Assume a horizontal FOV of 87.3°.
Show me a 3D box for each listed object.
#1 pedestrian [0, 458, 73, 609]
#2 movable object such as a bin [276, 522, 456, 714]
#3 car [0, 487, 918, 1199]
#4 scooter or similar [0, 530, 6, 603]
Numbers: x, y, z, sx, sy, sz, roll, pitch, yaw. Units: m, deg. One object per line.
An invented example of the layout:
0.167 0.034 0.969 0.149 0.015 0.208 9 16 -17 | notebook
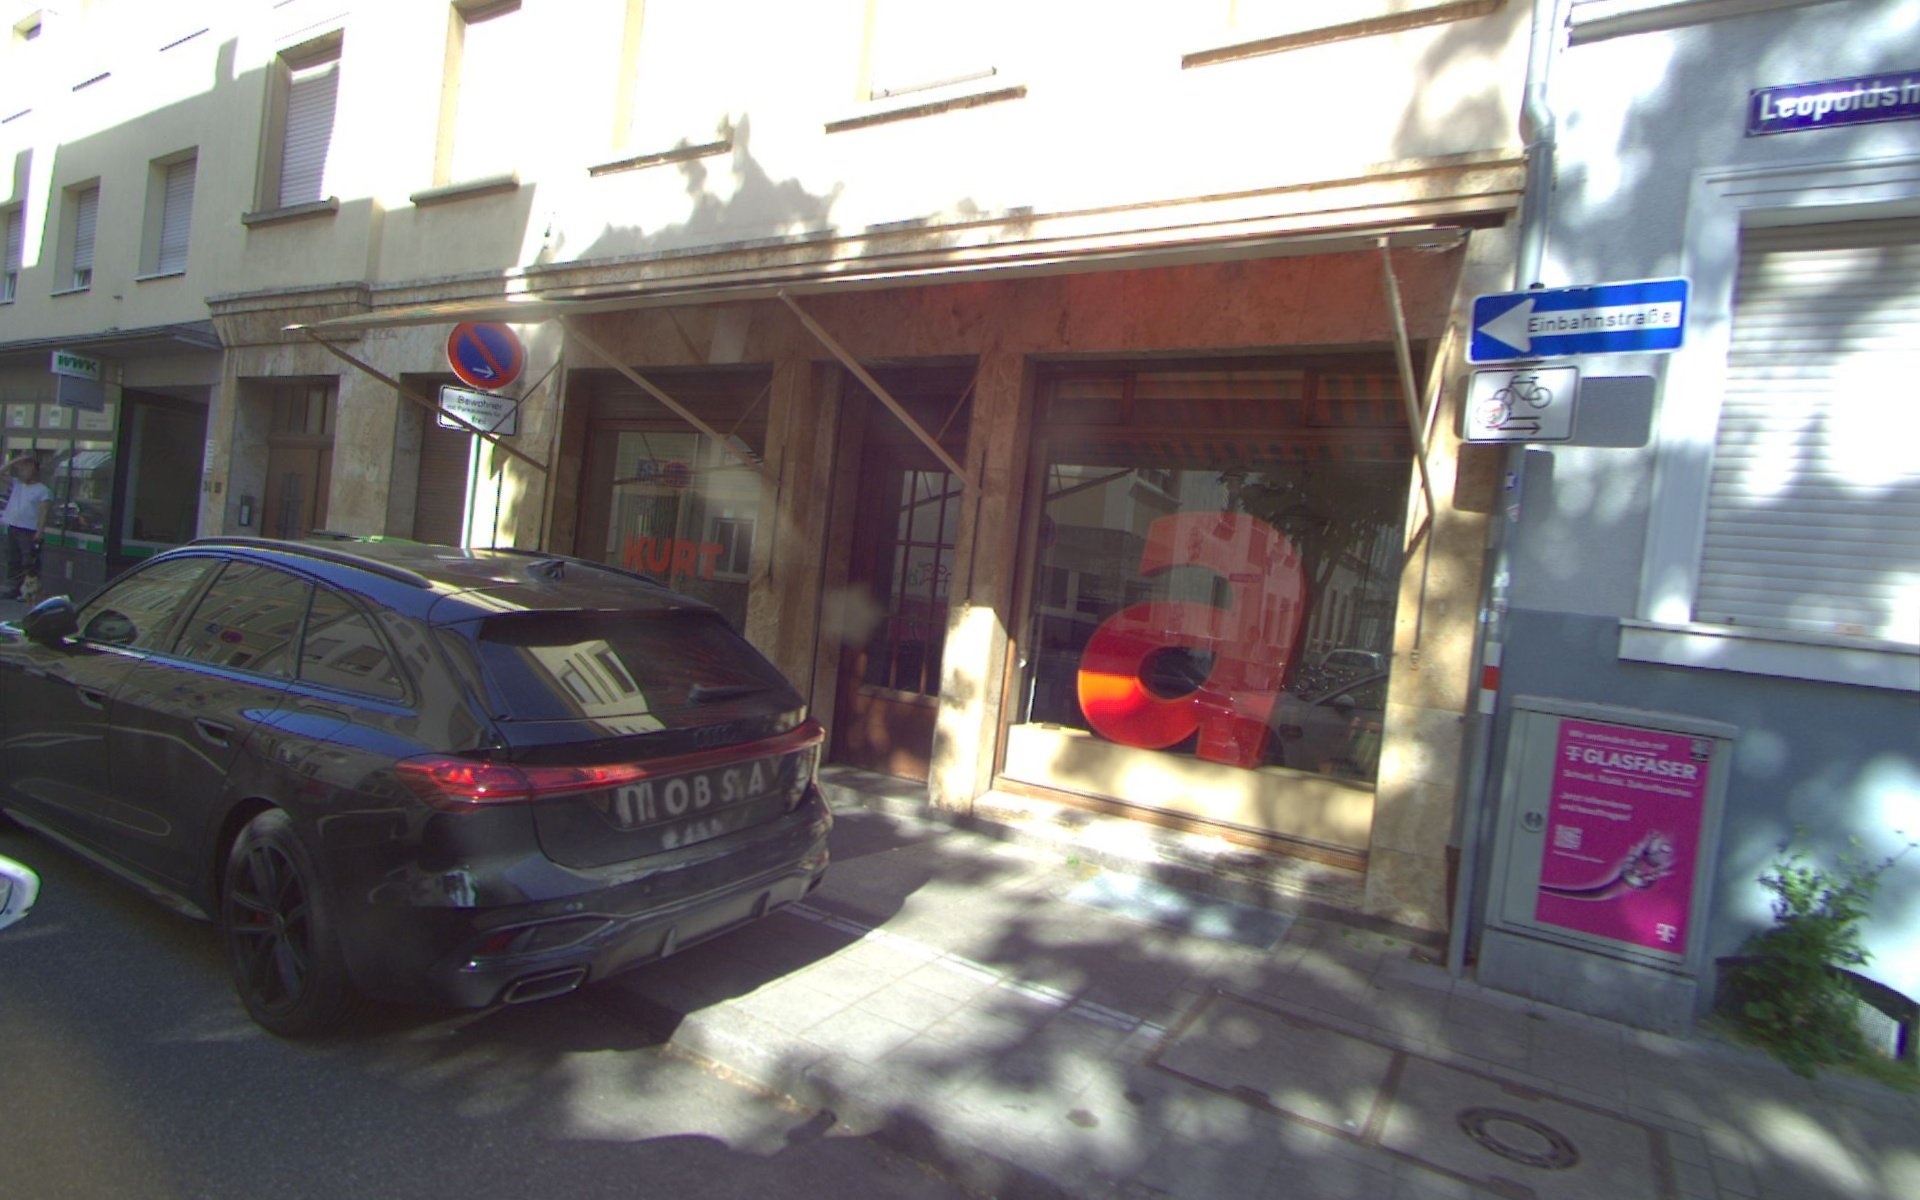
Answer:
-12.208 -0.859 13.066 0.734 1.885 0.650 6 3 10 | pedestrian
-5.056 0.125 8.550 1.350 1.456 0.746 6 3 33 | movable object such as a bin
-2.747 0.492 4.416 4.816 1.598 1.804 6 -1 32 | car
-13.160 -0.489 13.406 0.855 0.957 0.490 8 2 38 | scooter or similar
